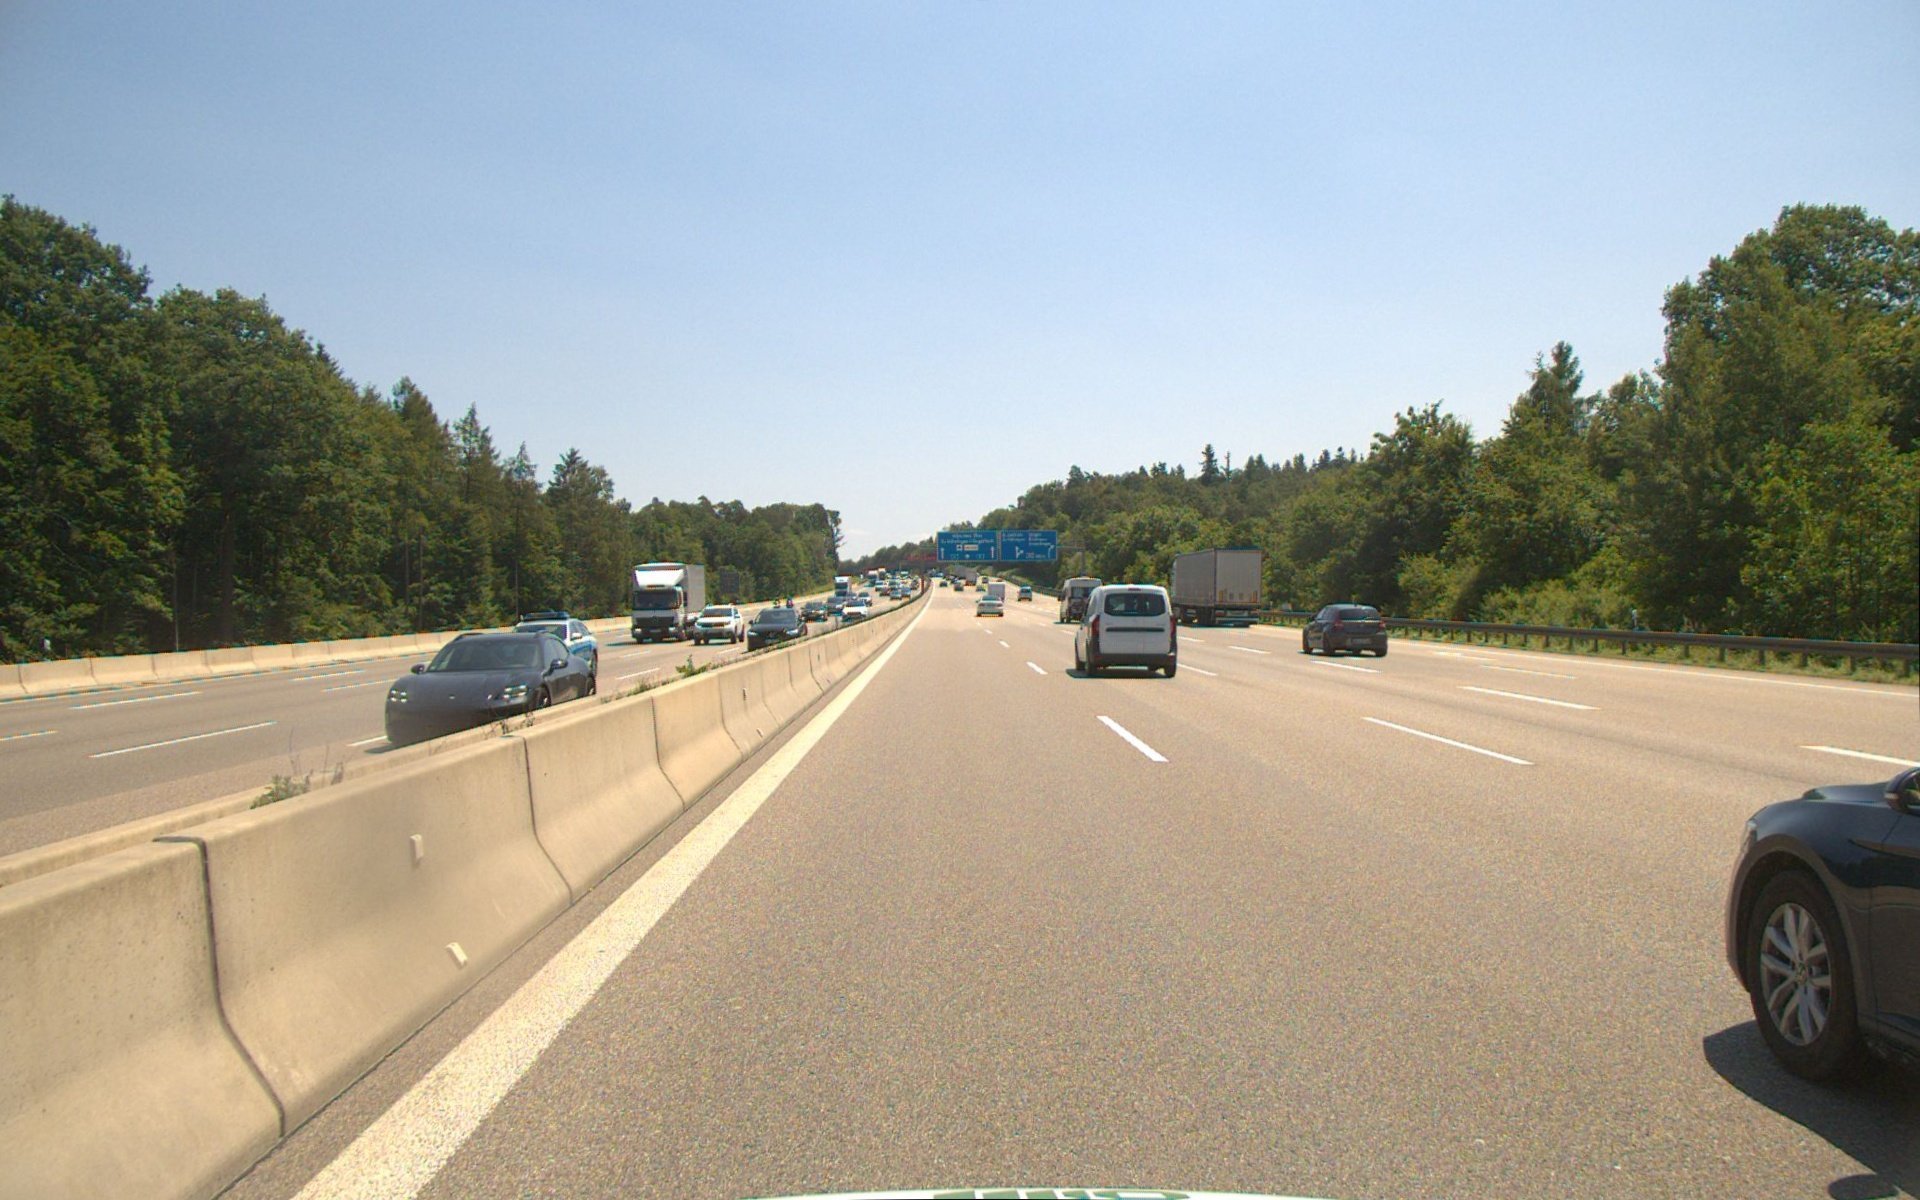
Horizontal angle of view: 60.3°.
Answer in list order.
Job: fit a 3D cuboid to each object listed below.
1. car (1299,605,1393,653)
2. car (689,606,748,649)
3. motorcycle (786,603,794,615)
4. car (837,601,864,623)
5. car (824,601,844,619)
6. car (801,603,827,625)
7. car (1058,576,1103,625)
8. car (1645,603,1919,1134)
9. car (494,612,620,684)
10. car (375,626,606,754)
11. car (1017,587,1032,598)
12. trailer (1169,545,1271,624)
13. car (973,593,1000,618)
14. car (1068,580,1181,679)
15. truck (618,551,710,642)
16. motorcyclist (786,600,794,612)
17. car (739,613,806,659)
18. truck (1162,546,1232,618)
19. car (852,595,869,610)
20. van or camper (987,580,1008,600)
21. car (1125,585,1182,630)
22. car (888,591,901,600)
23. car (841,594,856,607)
[{"bbox_3d":[10.924,0.822,47.067,1.636,1.296,4.289,0,-1,-1],"label":"car"},{"bbox_3d":[-10.390,1.148,71.563,1.874,1.690,4.688,-2,0,-1],"label":"car"},{"bbox_3d":[-19.357,1.019,188.464,0.723,1.235,2.349,-2,0,-1],"label":"motorcycle"},{"bbox_3d":[-7.757,0.844,117.793,1.788,1.419,4.463,-2,0,-2],"label":"car"},{"bbox_3d":[-11.082,0.857,145.604,1.540,1.538,4.029,-2,0,-1],"label":"car"},{"bbox_3d":[-10.634,1.008,120.945,1.668,1.452,4.611,-2,0,-3],"label":"car"},{"bbox_3d":[6.826,-0.010,94.578,2.100,2.698,5.709,0,1,-1],"label":"car"},{"bbox_3d":[3.524,0.755,3.986,1.694,1.472,4.961,0,0,0],"label":"car"},{"bbox_3d":[-9.935,1.140,41.198,1.874,1.538,5.231,-2,0,-1],"label":"car"},{"bbox_3d":[-6.220,1.134,22.492,1.874,1.490,4.586,-1,-1,-1],"label":"car"},{"bbox_3d":[8.600,-1.031,221.753,1.798,1.361,3.642,-2,0,-1],"label":"car"},{"bbox_3d":[14.293,-0.906,92.319,3.221,3.999,13.888,1,1,-1],"label":"trailer"},{"bbox_3d":[1.887,0.389,117.307,1.805,1.657,4.553,-2,0,0],"label":"car"},{"bbox_3d":[3.329,0.567,34.246,1.822,1.857,4.612,-2,0,0],"label":"car"},{"bbox_3d":[-14.224,-0.155,80.236,2.800,4.083,9.466,-1,0,-1],"label":"truck"},{"bbox_3d":[-19.402,0.689,188.569,0.745,1.324,1.077,-2,1,-1],"label":"motorcyclist"},{"bbox_3d":[-6.452,1.222,57.404,1.874,1.490,4.362,-1,-1,-1],"label":"car"},{"bbox_3d":[14.142,-1.100,99.054,3.188,4.178,5.987,0,1,-1],"label":"truck"},{"bbox_3d":[-12.282,0.350,205.030,1.931,1.754,4.507,2,0,-2],"label":"car"},{"bbox_3d":[5.027,-1.329,223.941,2.591,2.583,6.501,-1,0,-1],"label":"van or camper"},{"bbox_3d":[7.075,0.277,60.718,1.473,1.526,3.648,-2,0,-2],"label":"car"},{"bbox_3d":[-9.841,-0.661,249.036,1.716,1.401,4.490,0,0,-1],"label":"car"},{"bbox_3d":[-16.366,0.062,243.416,1.931,1.754,4.507,3,0,-2],"label":"car"}]
